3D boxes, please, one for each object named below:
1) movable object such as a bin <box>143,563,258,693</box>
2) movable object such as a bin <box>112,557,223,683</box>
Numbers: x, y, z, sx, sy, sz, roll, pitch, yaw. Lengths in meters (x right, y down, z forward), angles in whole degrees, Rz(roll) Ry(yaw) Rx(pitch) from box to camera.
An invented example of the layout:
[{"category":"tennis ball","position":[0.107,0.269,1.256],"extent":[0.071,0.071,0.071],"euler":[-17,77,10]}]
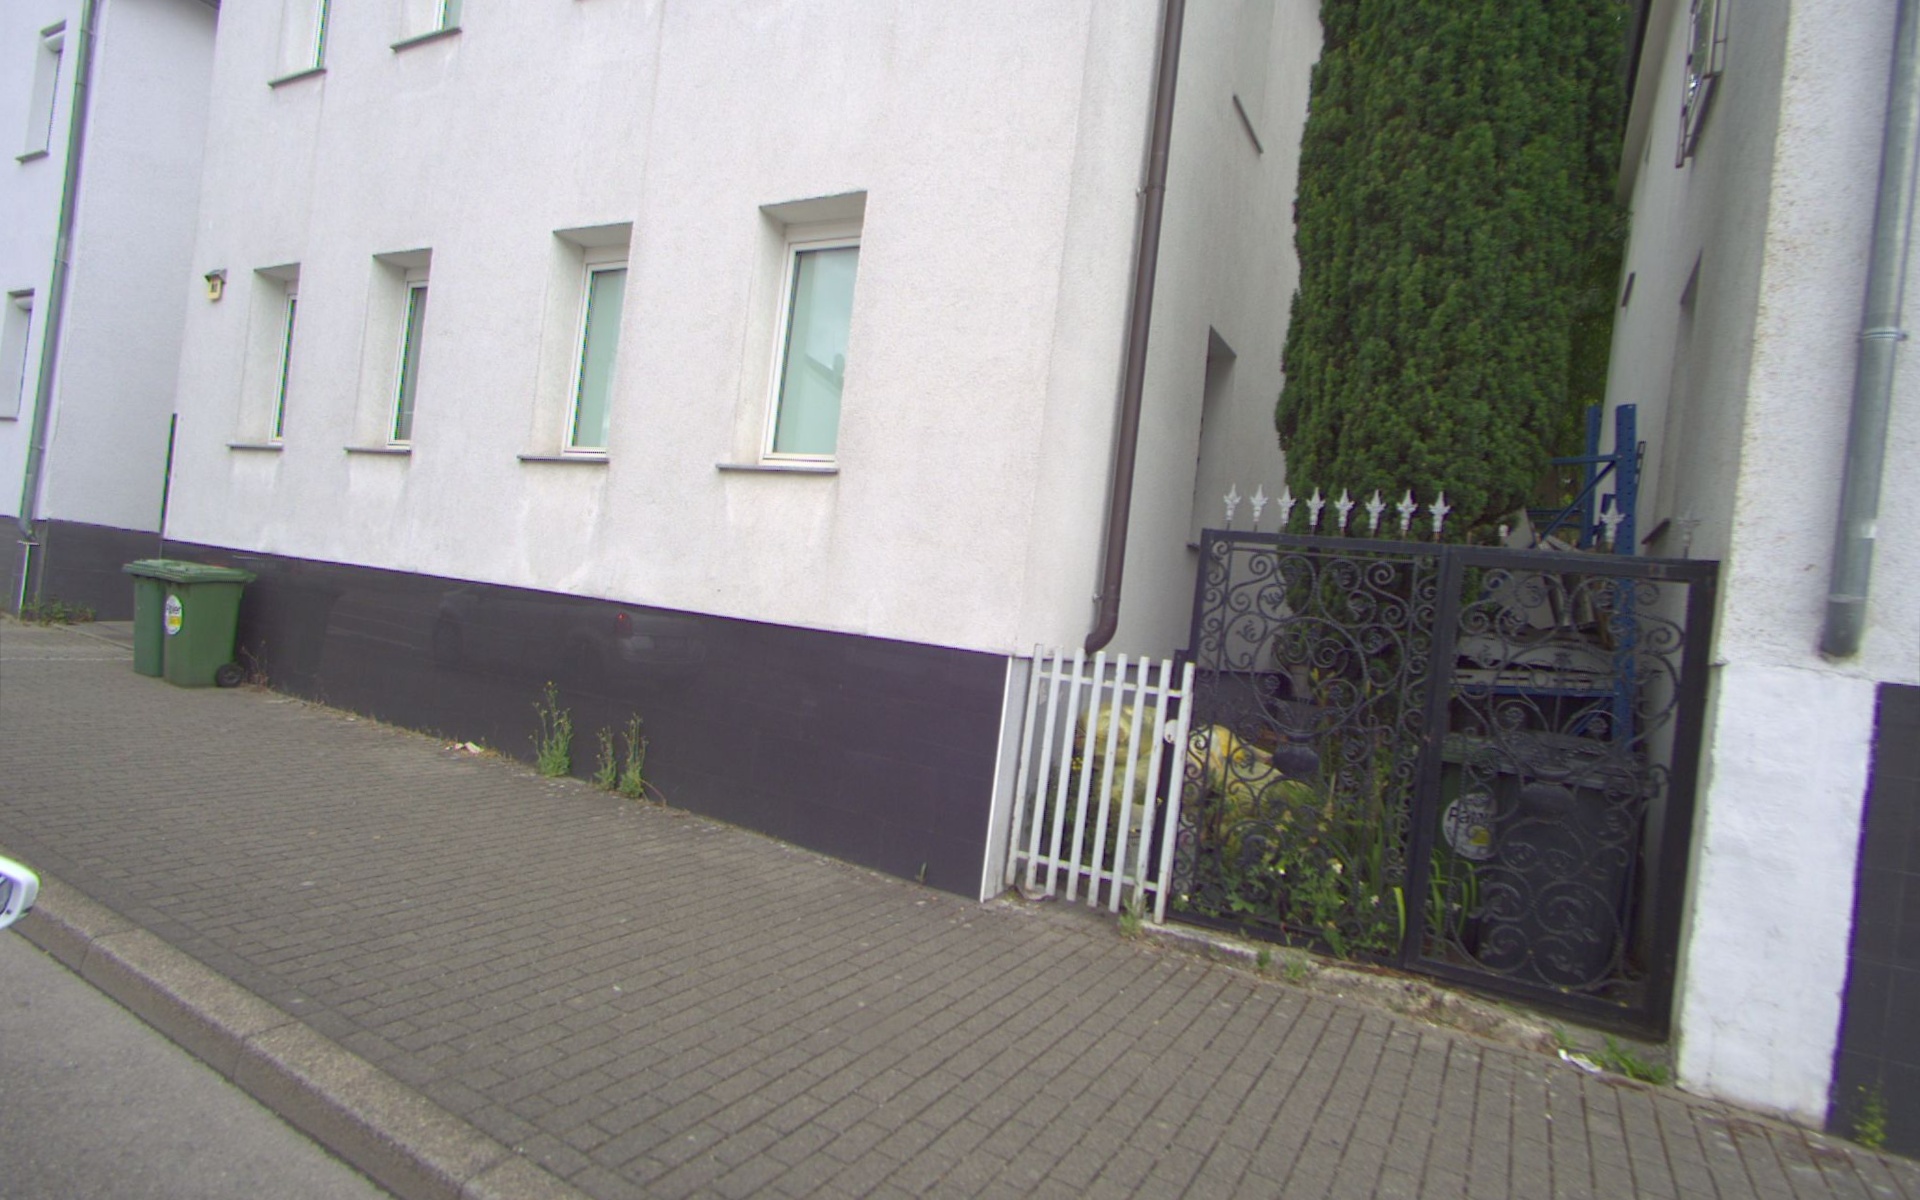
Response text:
[{"category":"movable object such as a bin","position":[-5.995,0.220,7.946],"extent":[0.479,0.953,0.540],"euler":[7,2,31]},{"category":"movable object such as a bin","position":[-6.455,0.167,8.200],"extent":[0.479,0.953,0.540],"euler":[7,2,31]}]
